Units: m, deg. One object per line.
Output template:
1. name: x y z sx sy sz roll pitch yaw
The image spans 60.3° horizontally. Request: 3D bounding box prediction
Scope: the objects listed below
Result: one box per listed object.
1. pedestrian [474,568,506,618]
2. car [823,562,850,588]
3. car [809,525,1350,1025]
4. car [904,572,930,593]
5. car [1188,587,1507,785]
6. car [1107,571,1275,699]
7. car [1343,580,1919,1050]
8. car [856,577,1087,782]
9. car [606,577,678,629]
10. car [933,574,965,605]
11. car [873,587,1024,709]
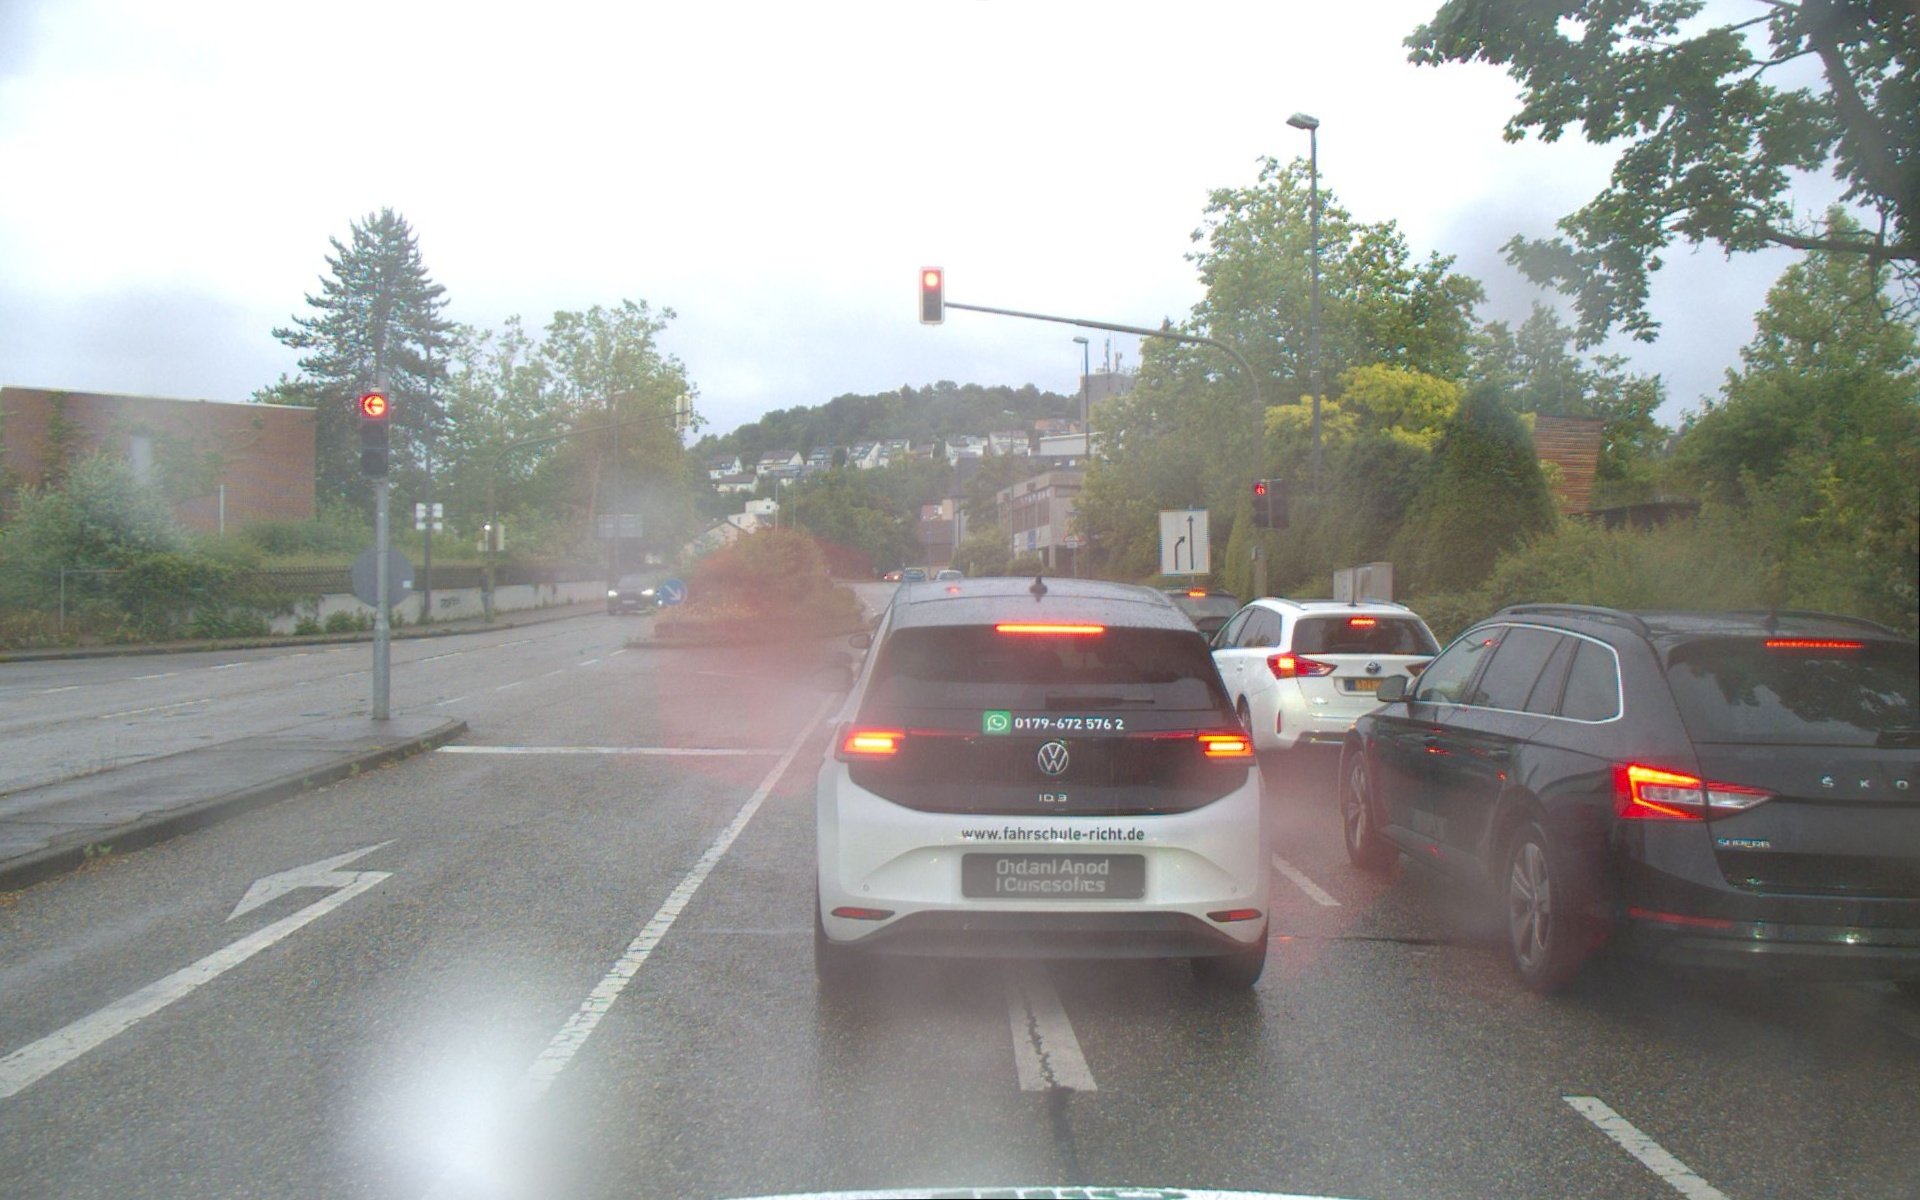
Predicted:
1. pedestrian: -15.400 -0.225 54.198 0.744 1.595 0.825 -2 0 -2
2. car: -10.466 -2.076 140.300 1.953 2.049 3.999 1 -1 -1
3. car: 0.354 0.573 7.914 1.800 1.657 4.614 1 1 -1
4. car: -3.102 -1.236 118.878 1.726 1.443 3.747 -1 1 -3
5. car: 3.310 0.655 14.951 1.800 1.492 4.116 1 1 -1
6. car: 3.159 0.458 23.354 1.739 1.609 3.999 1 0 -1
7. car: 3.139 0.684 7.509 1.800 1.492 4.350 1 1 1
8. car: 0.045 0.609 15.226 1.800 1.582 4.174 1 1 -1
9. car: -12.045 0.110 62.890 1.953 1.836 3.999 -3 0 -1
10. car: -0.591 -0.523 85.334 1.549 1.492 3.998 -1 0 -2
11. car: -0.180 0.573 21.994 1.800 1.424 3.830 1 1 -1
